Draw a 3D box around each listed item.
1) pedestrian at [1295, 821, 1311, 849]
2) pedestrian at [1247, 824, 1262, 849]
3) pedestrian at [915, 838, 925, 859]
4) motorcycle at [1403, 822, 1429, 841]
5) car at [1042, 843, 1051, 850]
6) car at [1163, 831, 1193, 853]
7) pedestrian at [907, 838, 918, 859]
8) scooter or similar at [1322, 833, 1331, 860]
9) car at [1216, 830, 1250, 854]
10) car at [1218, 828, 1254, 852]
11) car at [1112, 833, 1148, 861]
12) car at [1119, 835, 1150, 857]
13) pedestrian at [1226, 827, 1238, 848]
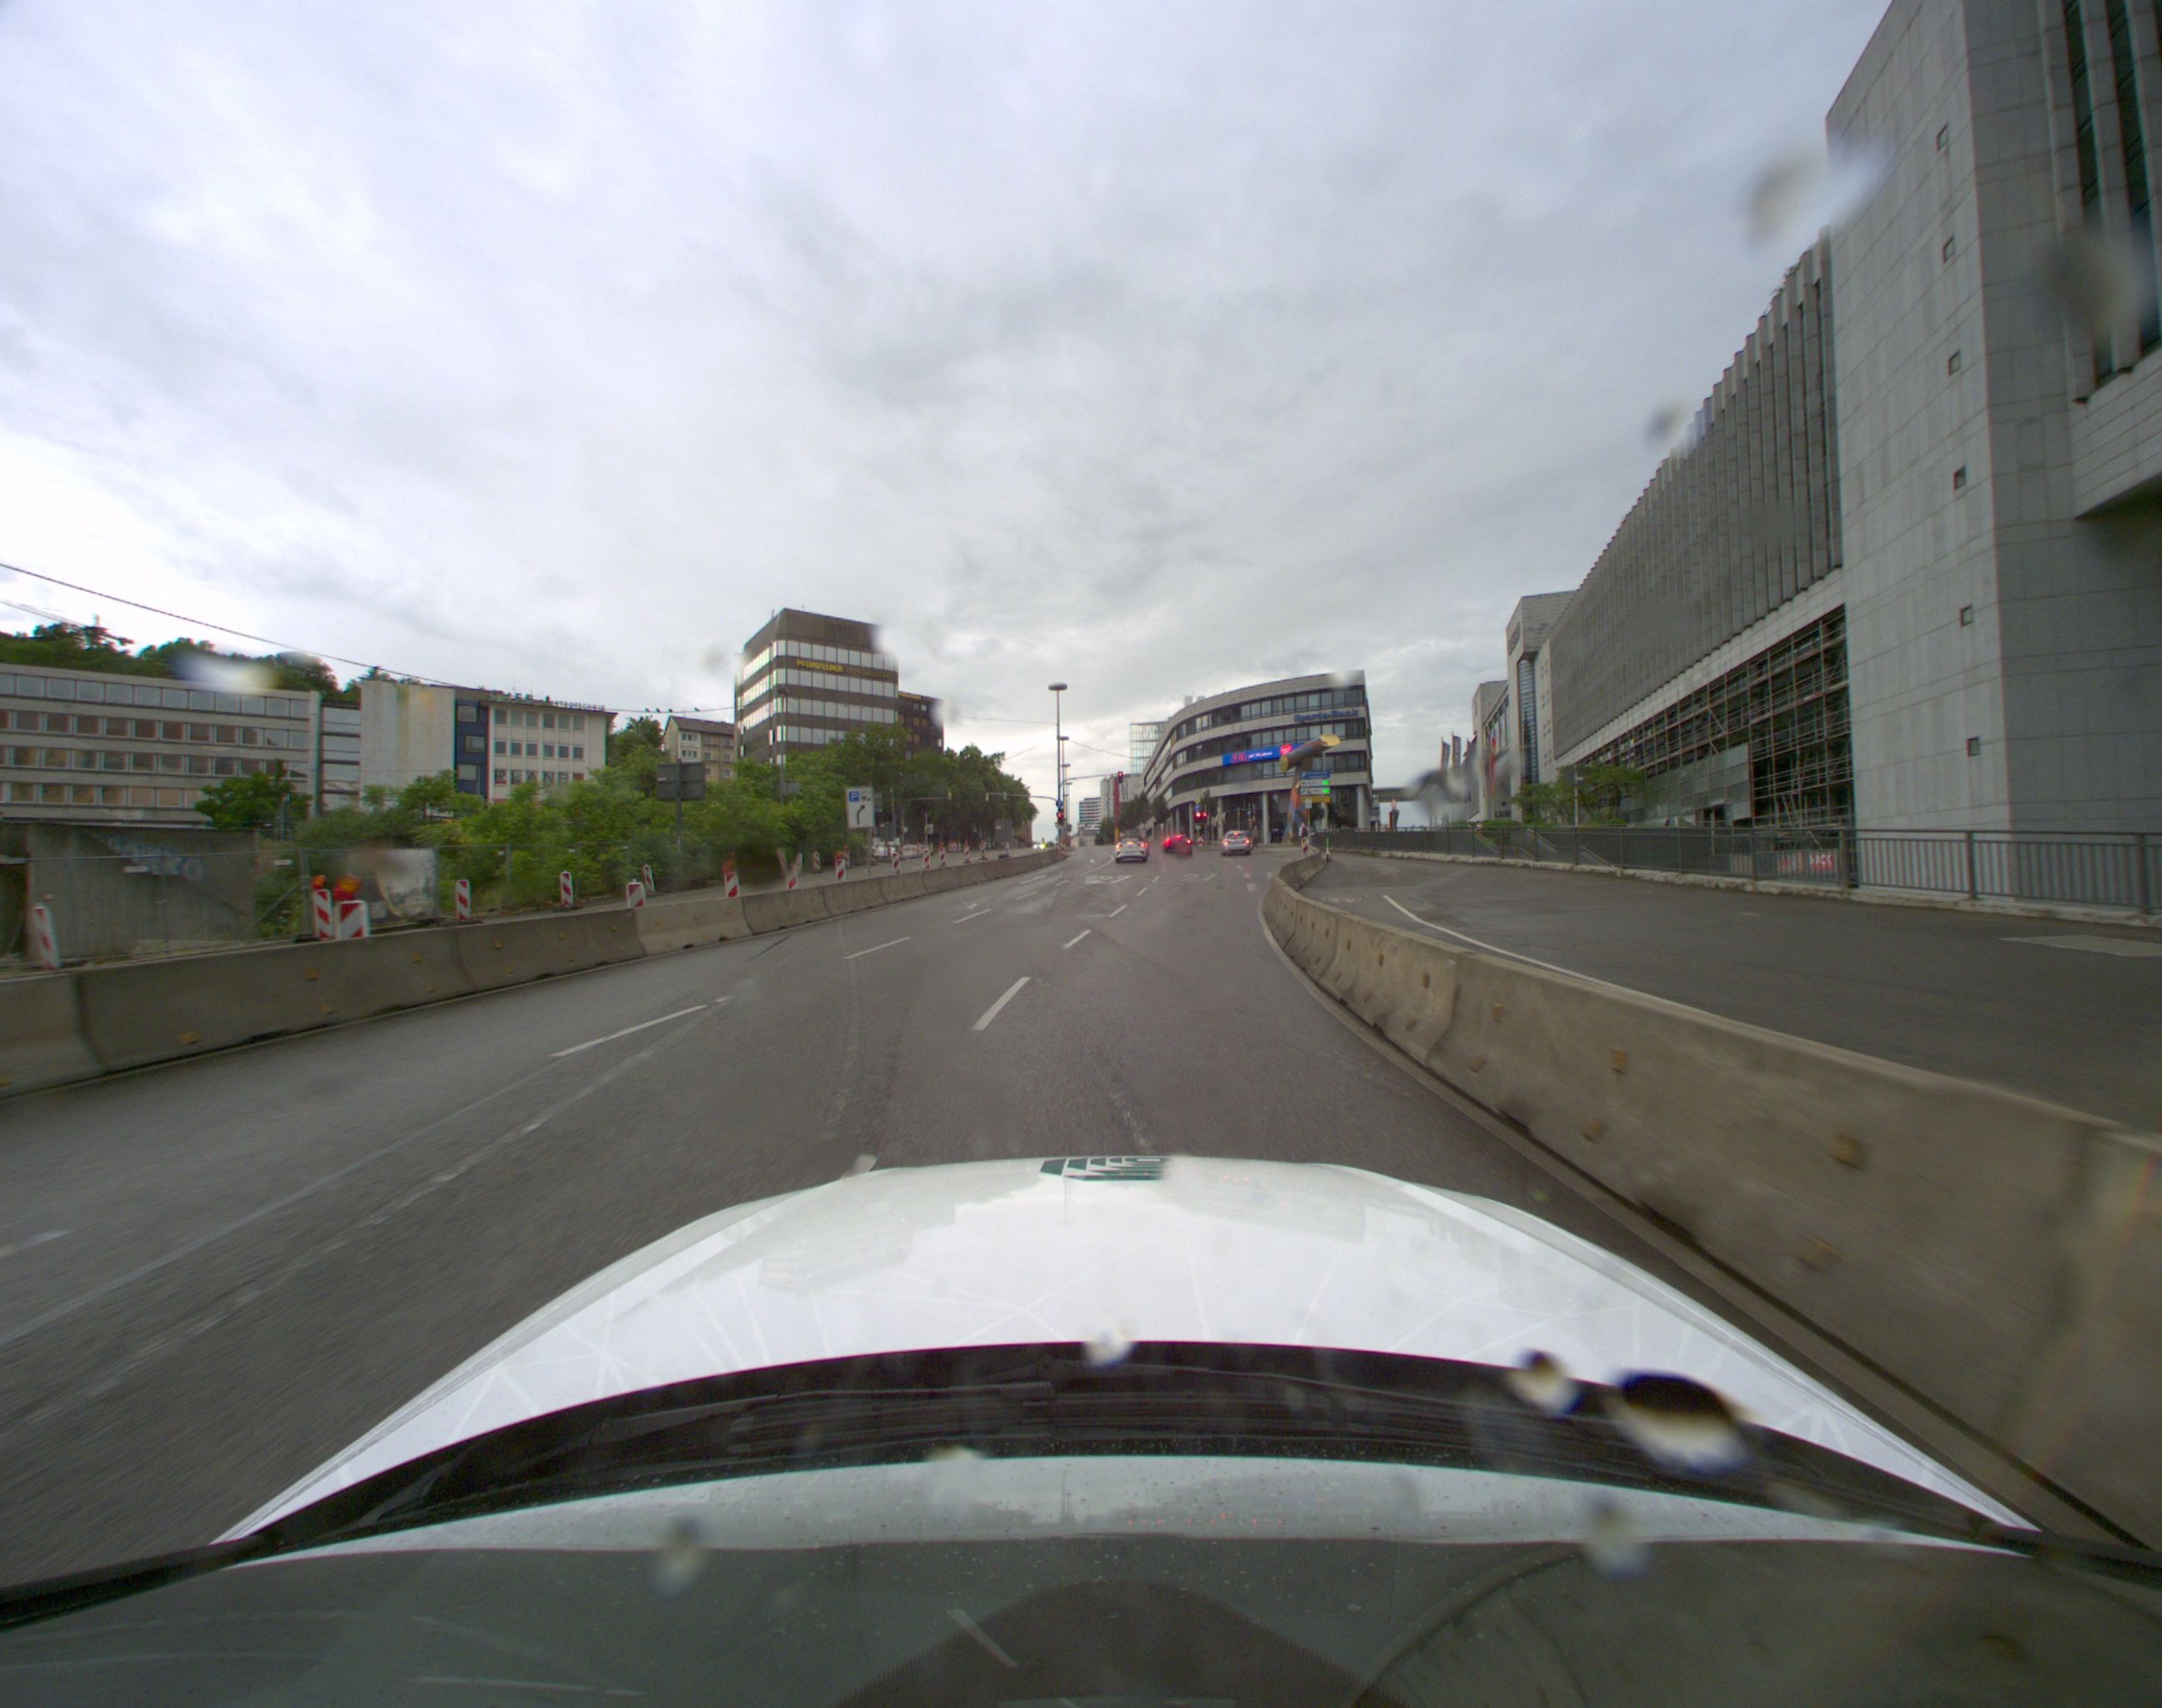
[{"bbox_3d":[13.536,-1.156,49.691,0.727,1.711,0.843,-1,-1,0],"label":"pedestrian"},{"bbox_3d":[14.860,-1.500,69.679,0.856,2.098,0.898,0,1,-23],"label":"pedestrian"},{"bbox_3d":[-15.027,-0.516,76.126,0.669,1.901,0.776,-1,-1,3],"label":"pedestrian"},{"bbox_3d":[25.343,-1.710,61.569,1.723,1.354,0.605,-3,1,-7],"label":"motorcycle"},{"bbox_3d":[-7.771,-1.676,181.137,1.755,1.460,4.359,-3,1,0],"label":"car"},{"bbox_3d":[6.564,-0.786,55.417,1.747,1.407,4.232,0,0,4],"label":"car"},{"bbox_3d":[-15.766,-0.501,76.154,0.758,1.922,0.742,-1,-1,3],"label":"pedestrian"},{"bbox_3d":[10.899,-0.334,36.219,0.346,1.162,0.575,-1,0,15],"label":"scooter or similar"},{"bbox_3d":[9.704,-0.726,52.135,1.692,1.451,4.623,-1,0,5],"label":"car"},{"bbox_3d":[11.265,-1.025,58.945,1.756,1.634,4.605,-1,1,21],"label":"car"},{"bbox_3d":[2.935,-0.462,48.126,1.954,1.548,4.225,-1,1,5],"label":"car"},{"bbox_3d":[3.693,-0.545,56.678,1.735,1.443,3.997,-1,1,-2],"label":"car"},{"bbox_3d":[14.031,-1.514,75.683,0.833,1.904,0.866,-2,-1,26],"label":"pedestrian"}]
